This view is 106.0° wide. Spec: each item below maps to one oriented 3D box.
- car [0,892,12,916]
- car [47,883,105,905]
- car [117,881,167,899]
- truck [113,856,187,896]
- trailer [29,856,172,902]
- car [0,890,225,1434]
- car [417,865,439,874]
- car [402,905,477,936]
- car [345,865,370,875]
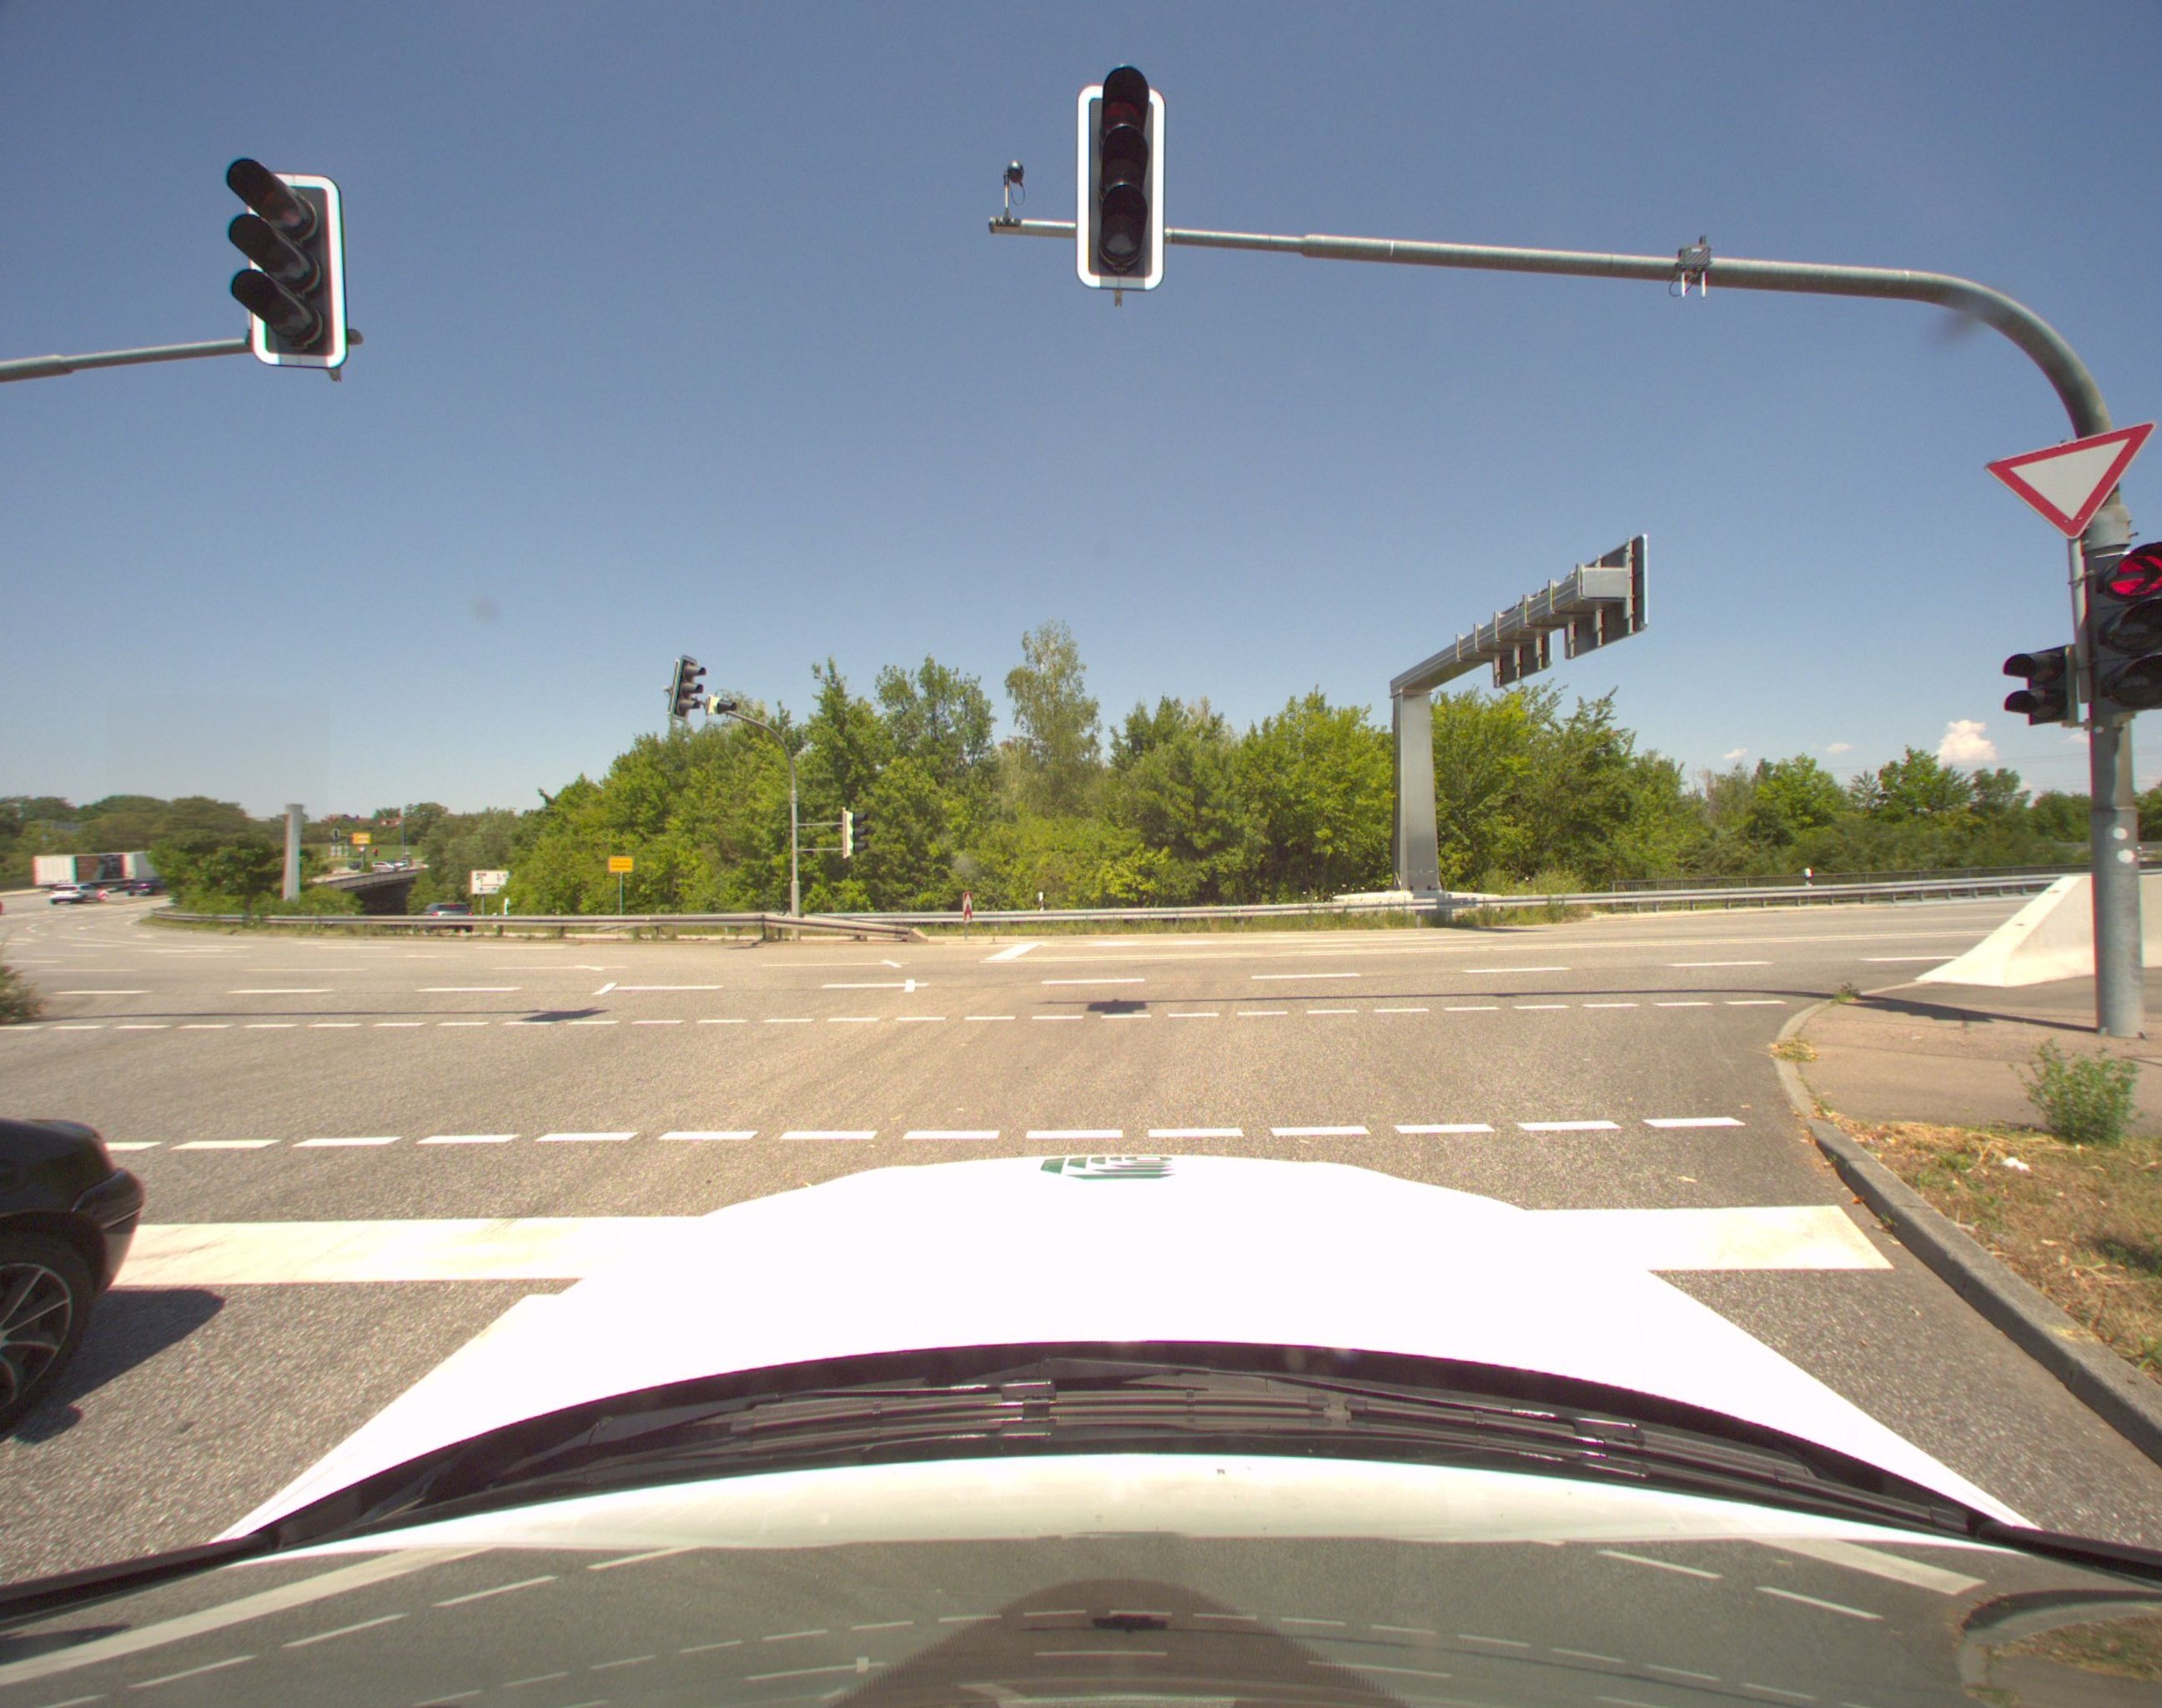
[{"bbox_3d":[-77.608,3.609,57.137,1.889,1.622,3.960,0,0,-32],"label":"car"},{"bbox_3d":[-86.959,3.452,70.527,1.941,1.665,3.961,0,0,-31],"label":"car"},{"bbox_3d":[-92.177,3.533,80.016,2.006,1.552,3.961,0,-1,-30],"label":"car"},{"bbox_3d":[-104.602,2.395,91.661,3.248,4.248,6.185,0,0,-25],"label":"truck"},{"bbox_3d":[-101.414,2.407,84.776,3.248,4.248,15.280,0,0,-25],"label":"trailer"},{"bbox_3d":[-3.617,0.826,1.037,1.615,1.407,3.297,-1,0,-2],"label":"car"},{"bbox_3d":[-130.227,3.047,162.422,1.798,1.631,3.802,0,0,-11],"label":"car"},{"bbox_3d":[-31.949,3.276,40.498,4.356,1.434,1.823,-3,-4,37],"label":"car"},{"bbox_3d":[-128.090,2.780,144.156,1.775,1.674,3.766,-1,0,-16],"label":"car"}]
